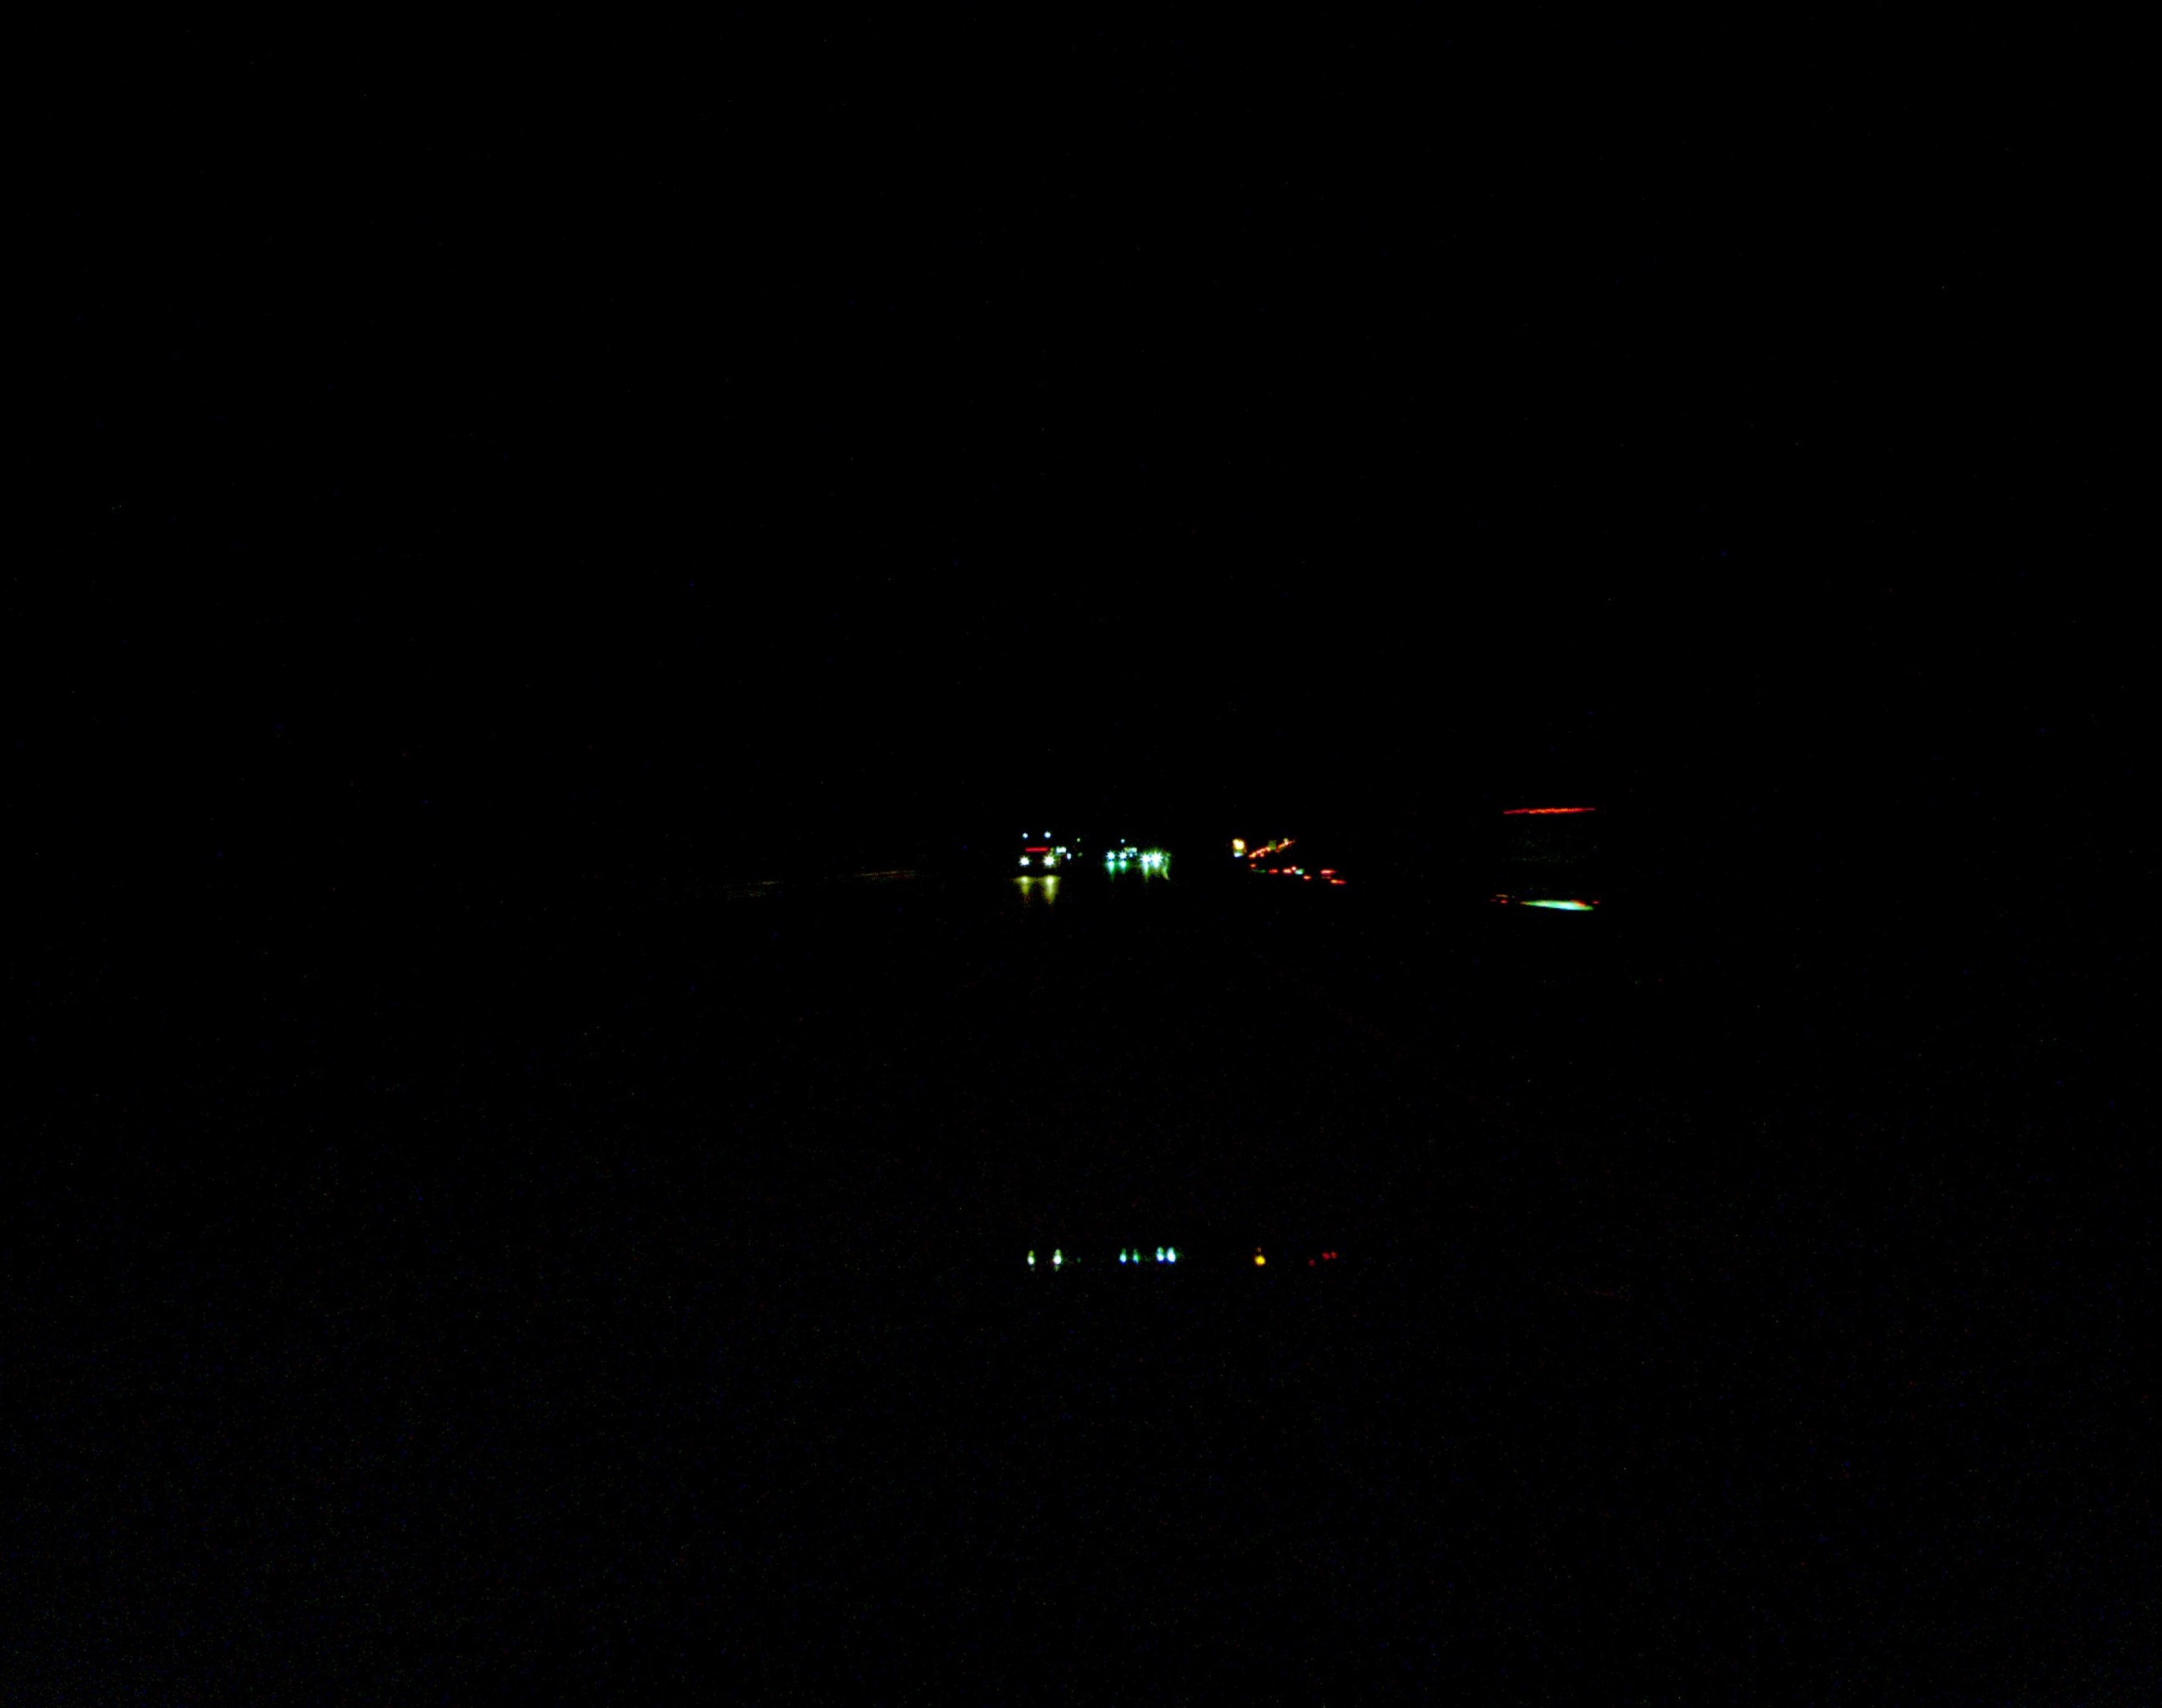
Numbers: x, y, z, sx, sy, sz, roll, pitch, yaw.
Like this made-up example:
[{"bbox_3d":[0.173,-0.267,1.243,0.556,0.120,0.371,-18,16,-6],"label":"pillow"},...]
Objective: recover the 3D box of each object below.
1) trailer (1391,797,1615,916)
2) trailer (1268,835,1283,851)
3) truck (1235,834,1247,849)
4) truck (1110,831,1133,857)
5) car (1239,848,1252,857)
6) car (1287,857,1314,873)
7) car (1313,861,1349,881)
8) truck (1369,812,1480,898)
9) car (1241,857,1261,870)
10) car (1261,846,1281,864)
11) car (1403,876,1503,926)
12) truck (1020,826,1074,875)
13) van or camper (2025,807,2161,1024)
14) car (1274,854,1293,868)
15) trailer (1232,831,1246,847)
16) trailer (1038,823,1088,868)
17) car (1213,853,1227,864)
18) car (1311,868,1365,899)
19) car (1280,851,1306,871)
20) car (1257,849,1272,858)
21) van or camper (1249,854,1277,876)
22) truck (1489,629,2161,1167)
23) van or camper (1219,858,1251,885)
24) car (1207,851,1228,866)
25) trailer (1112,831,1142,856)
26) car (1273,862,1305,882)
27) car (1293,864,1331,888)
[{"bbox_3d":[17.542,0.060,33.313,3.443,4.216,12.834,0,0,4],"label":"trailer"},{"bbox_3d":[57.864,-3.357,225.913,3.152,4.291,14.826,-4,1,18],"label":"trailer"},{"bbox_3d":[43.377,-3.347,205.979,2.607,3.722,6.762,-4,1,16],"label":"truck"},{"bbox_3d":[6.411,-1.642,120.622,2.898,3.949,4.003,-2,1,11],"label":"truck"},{"bbox_3d":[28.658,-0.218,132.316,1.820,1.460,4.282,-1,0,9],"label":"car"},{"bbox_3d":[21.439,1.031,74.437,1.841,1.434,4.002,-1,0,6],"label":"car"},{"bbox_3d":[19.657,1.329,59.901,1.604,1.434,4.000,-1,0,2],"label":"car"},{"bbox_3d":[18.024,0.018,40.435,3.426,4.199,6.284,0,1,4],"label":"truck"},{"bbox_3d":[21.814,1.179,97.619,2.143,1.613,5.115,-1,0,8],"label":"car"},{"bbox_3d":[26.977,0.139,108.034,2.031,2.427,5.697,-2,1,7],"label":"car"},{"bbox_3d":[12.665,1.545,26.106,1.604,1.434,4.000,-1,0,2],"label":"car"},{"bbox_3d":[-2.772,-0.391,64.918,2.872,3.818,8.057,-3,1,9],"label":"truck"},{"bbox_3d":[15.668,0.830,8.632,1.838,2.954,6.399,-1,0,-1],"label":"van or camper"},{"bbox_3d":[24.888,0.847,93.629,1.820,1.548,4.282,-1,0,9],"label":"car"},{"bbox_3d":[41.525,-4.001,199.416,2.538,3.692,10.136,-4,1,16],"label":"trailer"},{"bbox_3d":[-1.541,-0.770,74.343,2.880,3.908,12.893,-3,0,7],"label":"trailer"},{"bbox_3d":[19.938,0.570,109.198,1.820,1.460,4.282,-1,0,9],"label":"car"},{"bbox_3d":[13.694,1.560,40.752,1.604,1.434,4.255,-1,0,2],"label":"car"},{"bbox_3d":[23.413,0.761,84.062,2.143,2.042,5.116,-1,1,9],"label":"car"},{"bbox_3d":[35.657,-0.178,147.551,2.079,1.625,4.922,-2,1,6],"label":"car"},{"bbox_3d":[17.932,1.060,75.097,1.997,2.002,5.223,-1,0,6],"label":"van or camper"},{"bbox_3d":[8.572,0.211,9.255,2.661,3.570,8.549,-2,1,1],"label":"truck"},{"bbox_3d":[12.288,1.347,60.853,2.034,2.002,4.577,-1,1,6],"label":"van or camper"},{"bbox_3d":[15.598,0.487,86.964,2.143,1.696,5.115,-1,0,8],"label":"car"},{"bbox_3d":[7.978,-1.779,128.617,2.837,3.952,15.775,-2,1,11],"label":"trailer"},{"bbox_3d":[16.443,1.383,60.234,1.604,1.434,4.000,-1,0,3],"label":"car"},{"bbox_3d":[15.527,1.459,51.183,1.604,1.434,4.385,-1,0,5],"label":"car"}]
